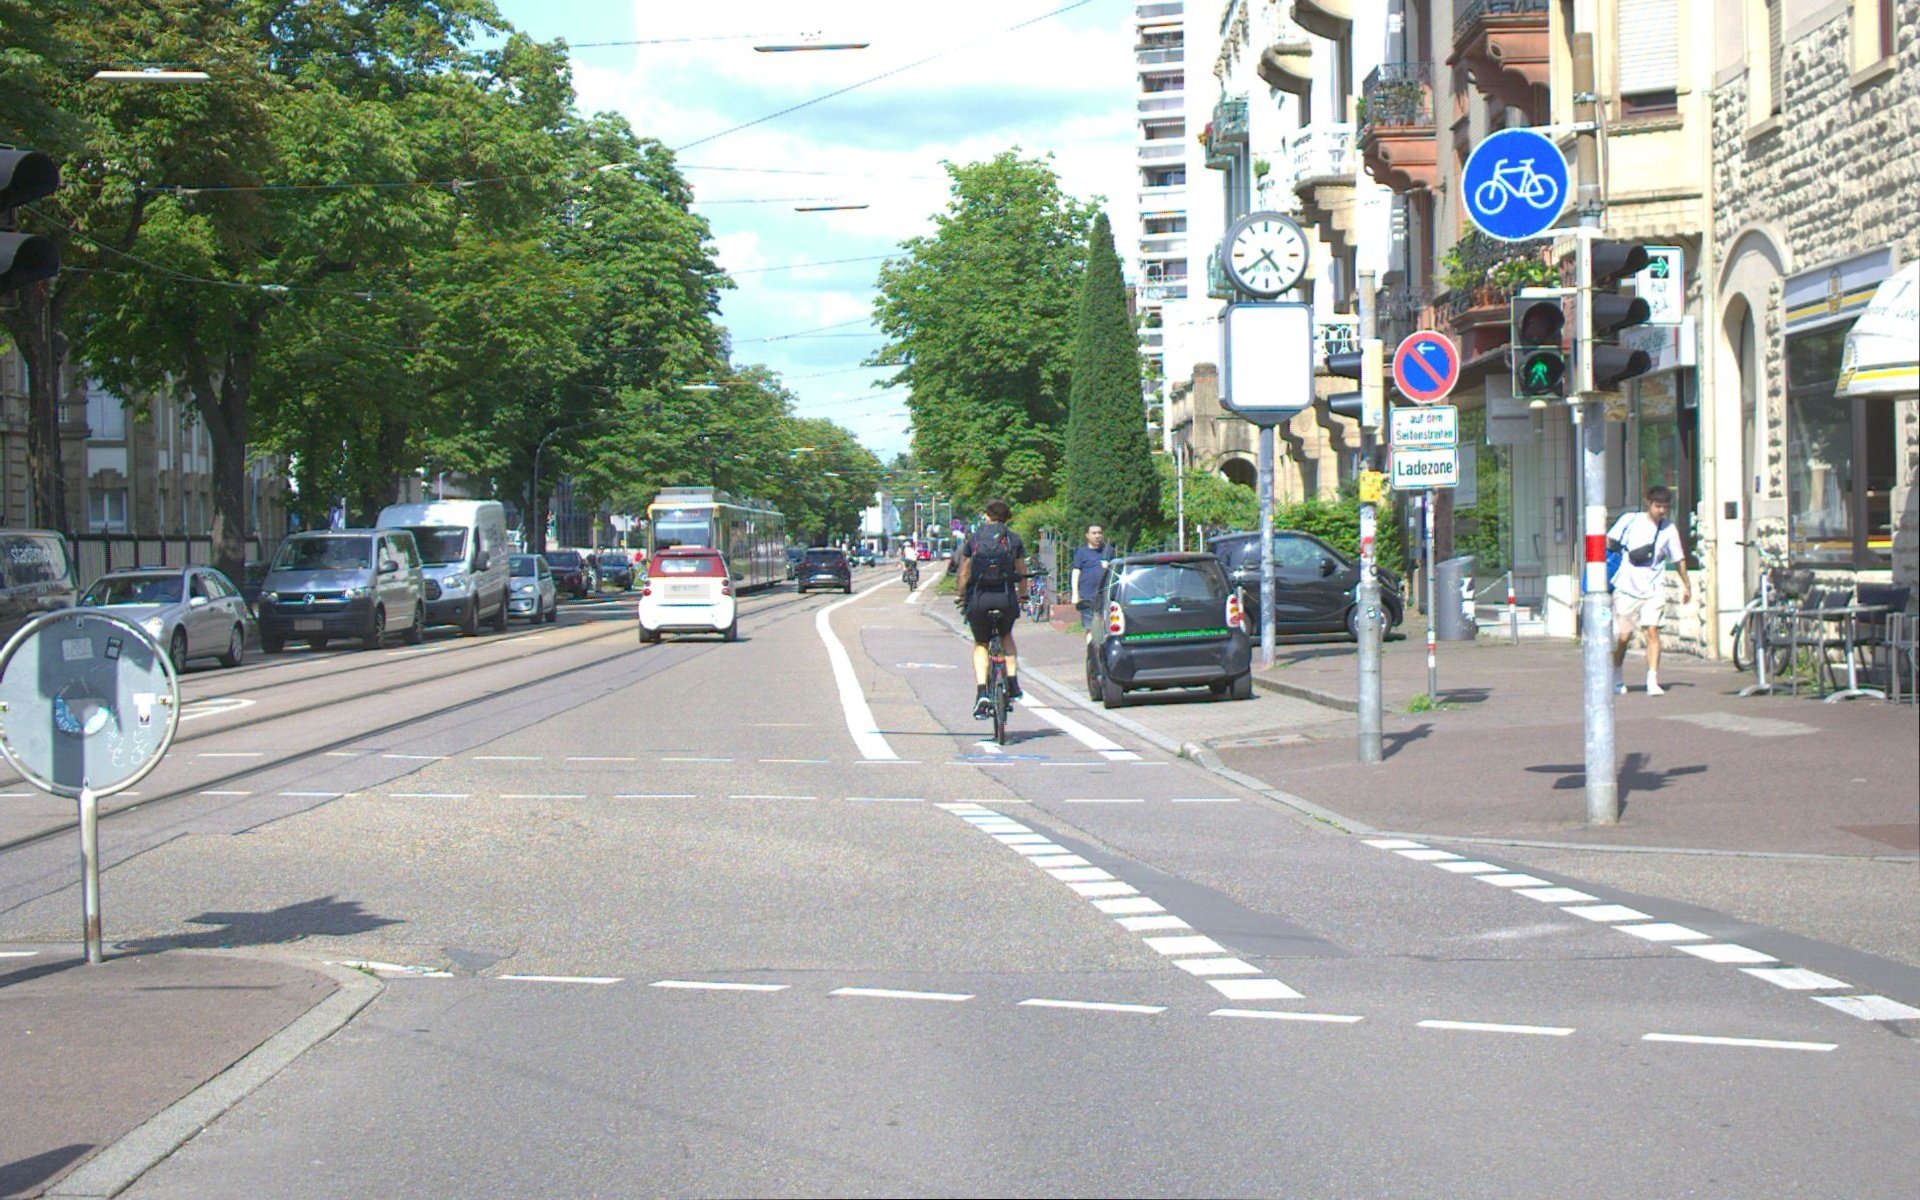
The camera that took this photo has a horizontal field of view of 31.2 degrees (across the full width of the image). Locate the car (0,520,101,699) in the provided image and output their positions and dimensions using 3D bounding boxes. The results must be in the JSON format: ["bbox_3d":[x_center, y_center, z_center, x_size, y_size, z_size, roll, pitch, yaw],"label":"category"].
[{"bbox_3d":[-11.221,0.121,38.271,1.927,1.910,5.124,-2,0,1],"label":"car"}]

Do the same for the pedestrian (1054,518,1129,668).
[{"bbox_3d":[1.675,-0.095,43.821,0.659,1.835,0.873,-5,1,-8],"label":"pedestrian"}]

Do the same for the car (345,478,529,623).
[{"bbox_3d":[-9.560,-0.955,63.381,2.316,2.499,6.364,-1,2,1],"label":"car"}]

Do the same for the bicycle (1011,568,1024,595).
[{"bbox_3d":[1.489,-0.492,89.442,0.279,0.675,1.559,-4,0,0],"label":"bicycle"}]

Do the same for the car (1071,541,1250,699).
[{"bbox_3d":[2.053,0.174,35.760,1.513,1.493,2.794,-3,1,-2],"label":"car"}]

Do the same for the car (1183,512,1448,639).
[{"bbox_3d":[4.789,-0.339,46.675,3.401,1.518,1.972,-3,1,3],"label":"car"}]

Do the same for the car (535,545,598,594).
[{"bbox_3d":[-13.896,-1.063,121.611,1.750,1.660,4.721,1,0,-1],"label":"car"}]

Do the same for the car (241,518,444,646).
[{"bbox_3d":[-10.019,-0.246,56.183,1.986,1.956,5.178,-1,-1,5],"label":"car"}]

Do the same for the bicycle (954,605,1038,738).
[{"bbox_3d":[0.291,0.592,28.728,0.616,1.041,1.836,-4,-1,0],"label":"bicycle"}]

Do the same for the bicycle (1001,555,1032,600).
[{"bbox_3d":[1.315,-0.524,80.127,0.610,0.992,2.362,-4,0,0],"label":"bicycle"}]

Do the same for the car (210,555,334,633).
[{"bbox_3d":[-14.117,-0.150,70.748,1.626,1.467,4.205,1,2,1],"label":"car"}]

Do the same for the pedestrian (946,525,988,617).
[{"bbox_3d":[0.142,-0.588,69.938,0.787,1.855,0.580,-1,0,-6],"label":"pedestrian"}]

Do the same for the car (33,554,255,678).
[{"bbox_3d":[-10.895,0.174,46.198,1.693,1.475,4.482,-2,1,3],"label":"car"}]

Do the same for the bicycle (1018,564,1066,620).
[{"bbox_3d":[1.518,-0.155,63.941,0.599,0.957,3.067,-5,1,-3],"label":"bicycle"}]

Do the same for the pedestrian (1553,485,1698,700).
[{"bbox_3d":[5.661,-0.073,29.275,1.010,1.762,0.850,-3,2,1],"label":"pedestrian"}]

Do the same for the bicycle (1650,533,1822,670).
[{"bbox_3d":[7.036,0.003,31.326,0.804,1.173,2.752,1,0,-3],"label":"bicycle"}]

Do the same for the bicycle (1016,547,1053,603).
[{"bbox_3d":[1.650,-0.556,76.654,0.740,1.227,2.516,-1,0,0],"label":"bicycle"}]

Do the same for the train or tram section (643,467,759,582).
[{"bbox_3d":[-8.372,-2.381,112.377,2.653,3.425,12.315,-3,0,0],"label":"train or tram section"}]

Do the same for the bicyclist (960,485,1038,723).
[{"bbox_3d":[0.317,0.031,28.726,0.607,1.941,1.130,1,0,0],"label":"bicyclist"}]

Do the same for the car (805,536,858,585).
[{"bbox_3d":[-4.362,-1.353,117.007,1.665,1.619,3.621,-1,1,0],"label":"car"}]

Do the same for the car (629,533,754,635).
[{"bbox_3d":[-4.426,-0.269,57.175,1.665,1.619,3.620,1,0,2],"label":"car"}]
